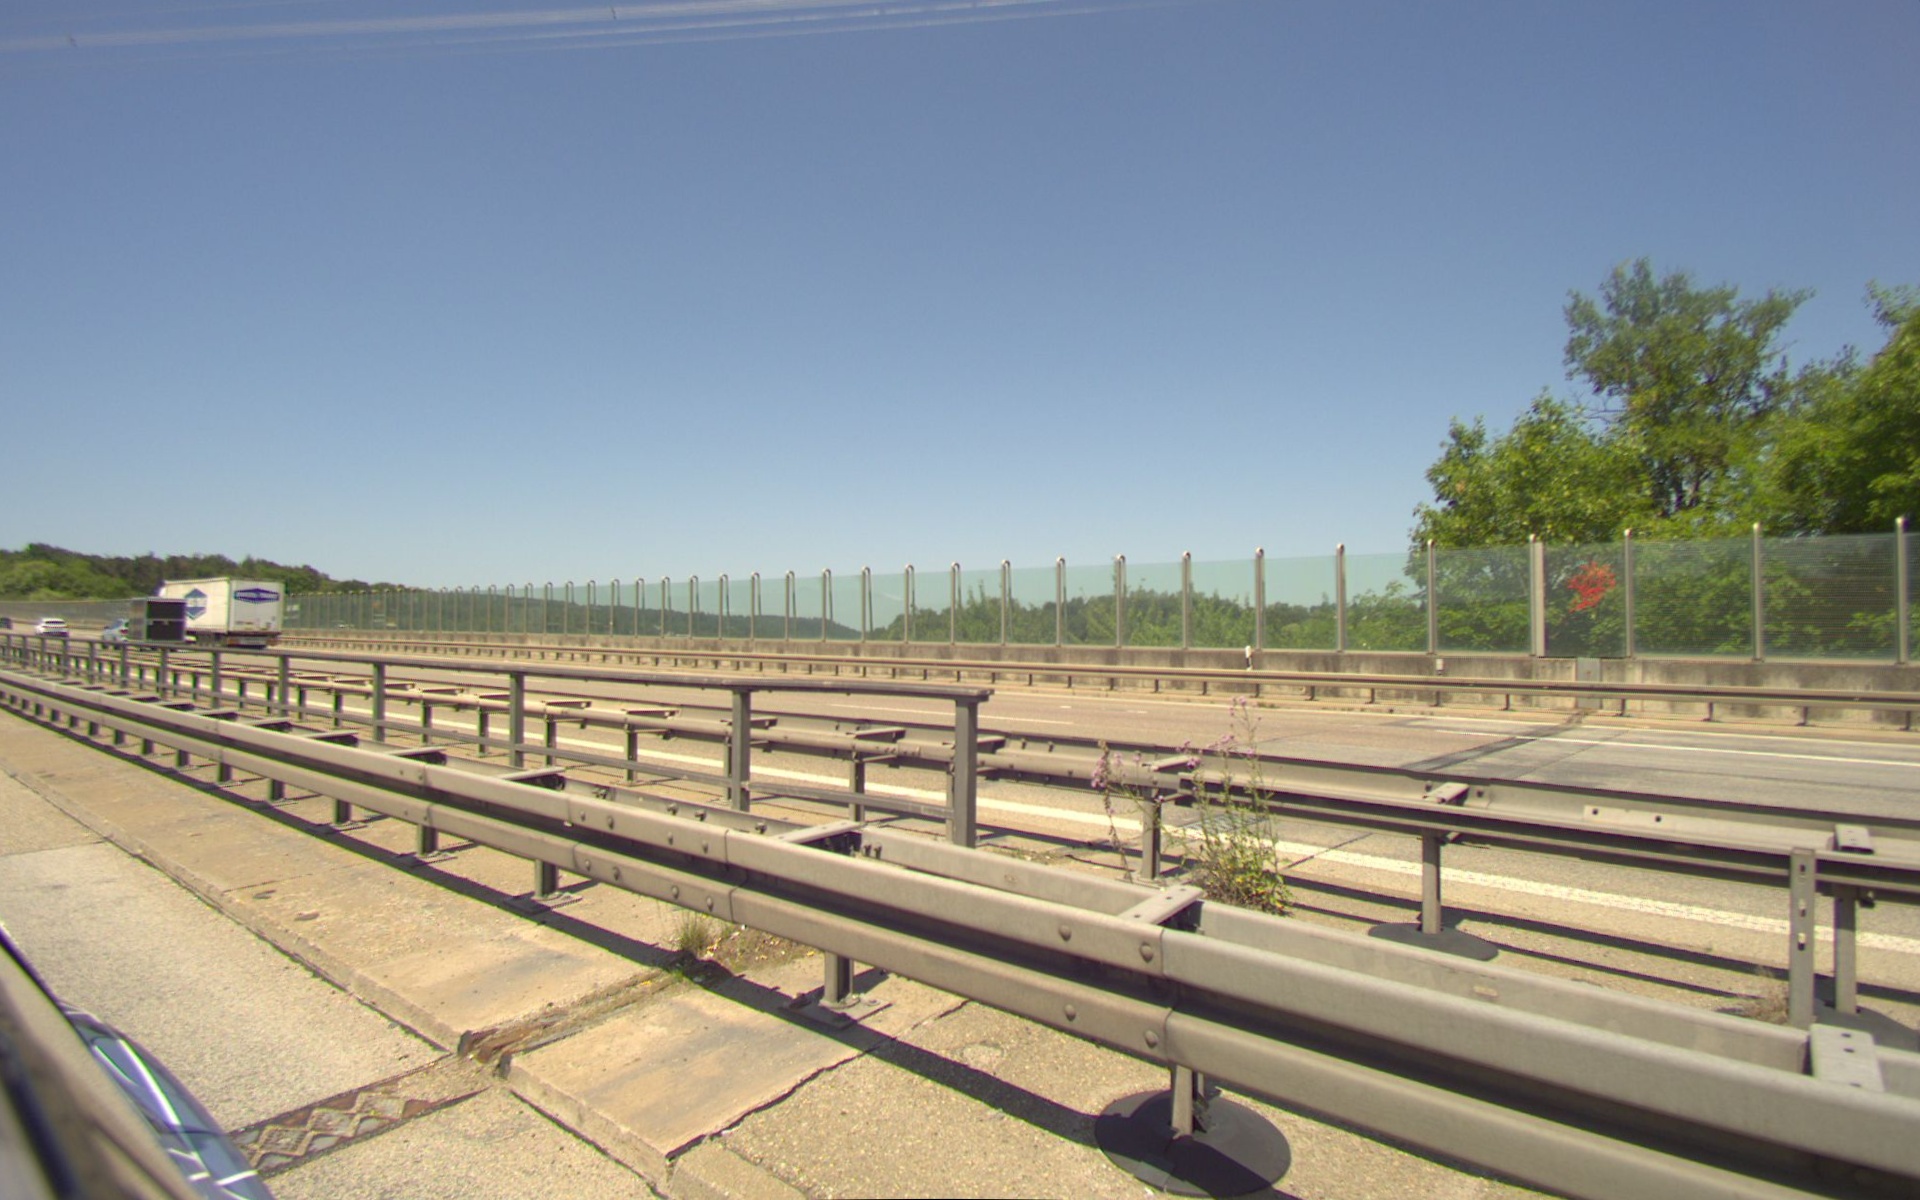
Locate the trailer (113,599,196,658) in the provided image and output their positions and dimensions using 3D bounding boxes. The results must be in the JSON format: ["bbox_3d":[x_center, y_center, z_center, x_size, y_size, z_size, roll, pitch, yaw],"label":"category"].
[{"bbox_3d":[-40.673,1.420,51.042,5.373,2.798,2.143,0,-4,41],"label":"trailer"}]

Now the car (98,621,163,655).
[{"bbox_3d":[-44.412,2.028,54.150,4.626,1.637,1.851,0,-4,41],"label":"car"}]

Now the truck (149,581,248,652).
[{"bbox_3d":[-48.157,1.099,64.007,4.855,4.261,3.965,-1,-3,40],"label":"truck"}]

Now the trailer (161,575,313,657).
[{"bbox_3d":[-42.231,0.992,58.799,14.032,4.268,3.947,-1,-3,41],"label":"trailer"}]

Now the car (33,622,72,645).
[{"bbox_3d":[-72.233,2.635,80.529,4.383,1.709,1.731,0,-3,41],"label":"car"}]

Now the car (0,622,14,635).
[{"bbox_3d":[-116.190,3.476,122.811,3.540,1.473,1.635,0,-2,41],"label":"car"}]
